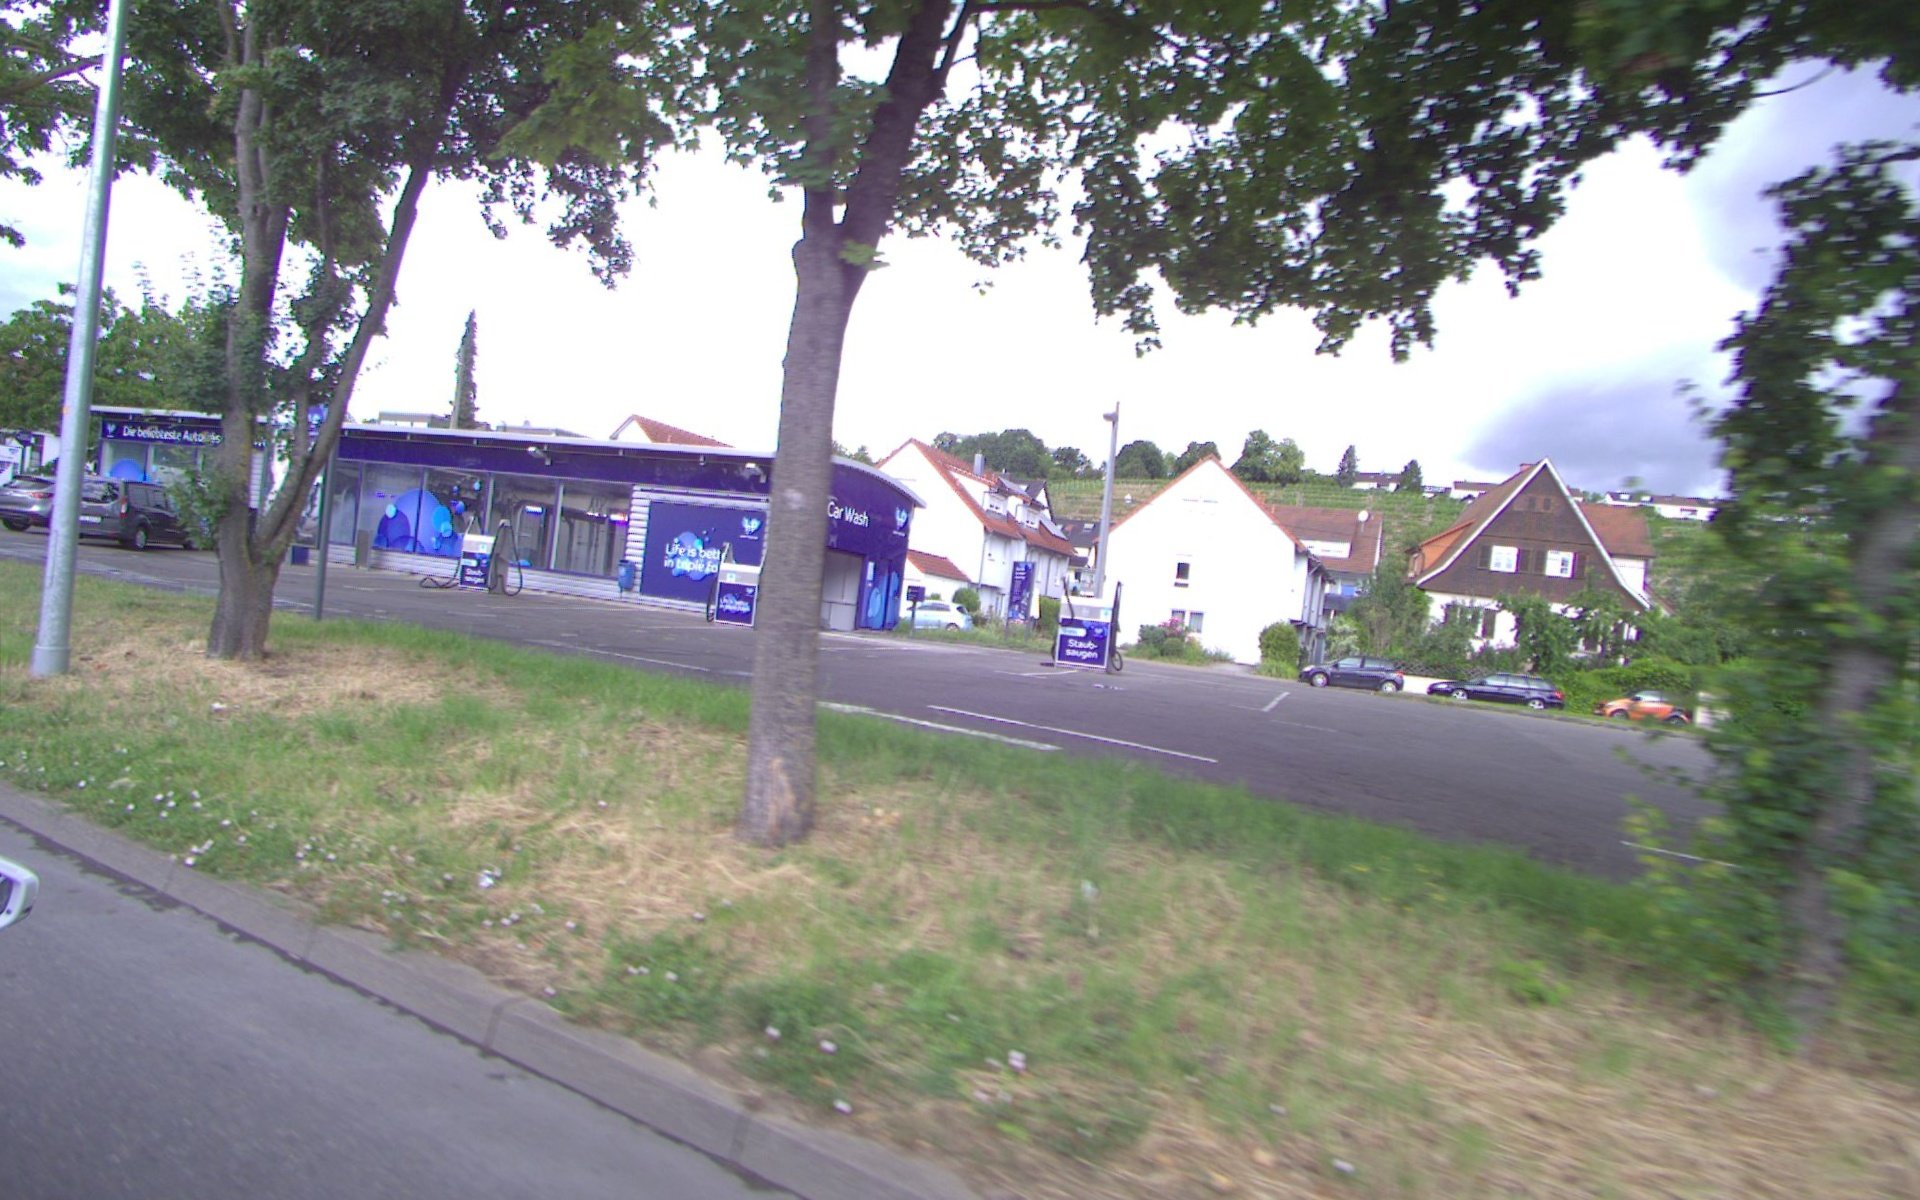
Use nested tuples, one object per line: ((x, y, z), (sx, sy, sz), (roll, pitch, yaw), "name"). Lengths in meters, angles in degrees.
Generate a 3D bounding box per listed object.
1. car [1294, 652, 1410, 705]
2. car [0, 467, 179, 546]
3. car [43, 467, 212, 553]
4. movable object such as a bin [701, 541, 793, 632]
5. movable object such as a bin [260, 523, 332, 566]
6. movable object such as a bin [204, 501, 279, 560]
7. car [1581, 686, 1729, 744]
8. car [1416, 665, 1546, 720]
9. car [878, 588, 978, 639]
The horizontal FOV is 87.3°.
((15.393, 3.109, 39.756), (3.924, 1.480, 2.003), (8, -2, 15), "car")
((-25.752, -2.714, 29.518), (1.805, 1.718, 4.214), (8, 0, 10), "car")
((-22.494, -2.358, 27.409), (1.724, 1.844, 4.370), (7, 0, -15), "car")
((-4.774, -0.293, 22.603), (1.429, 1.841, 1.161), (7, 1, 24), "movable object such as a bin")
((-18.543, -1.541, 28.095), (1.167, 0.988, 1.161), (7, 0, 24), "movable object such as a bin")
((-21.133, -2.030, 29.612), (1.362, 1.493, 1.161), (7, 1, 24), "movable object such as a bin")
((25.557, 4.217, 37.169), (3.924, 1.480, 2.003), (8, -2, 15), "car")
((19.833, 3.527, 38.472), (3.924, 1.480, 2.003), (8, -2, 15), "car")
((-1.371, 0.620, 44.057), (3.924, 1.592, 1.789), (8, -2, 11), "car")
